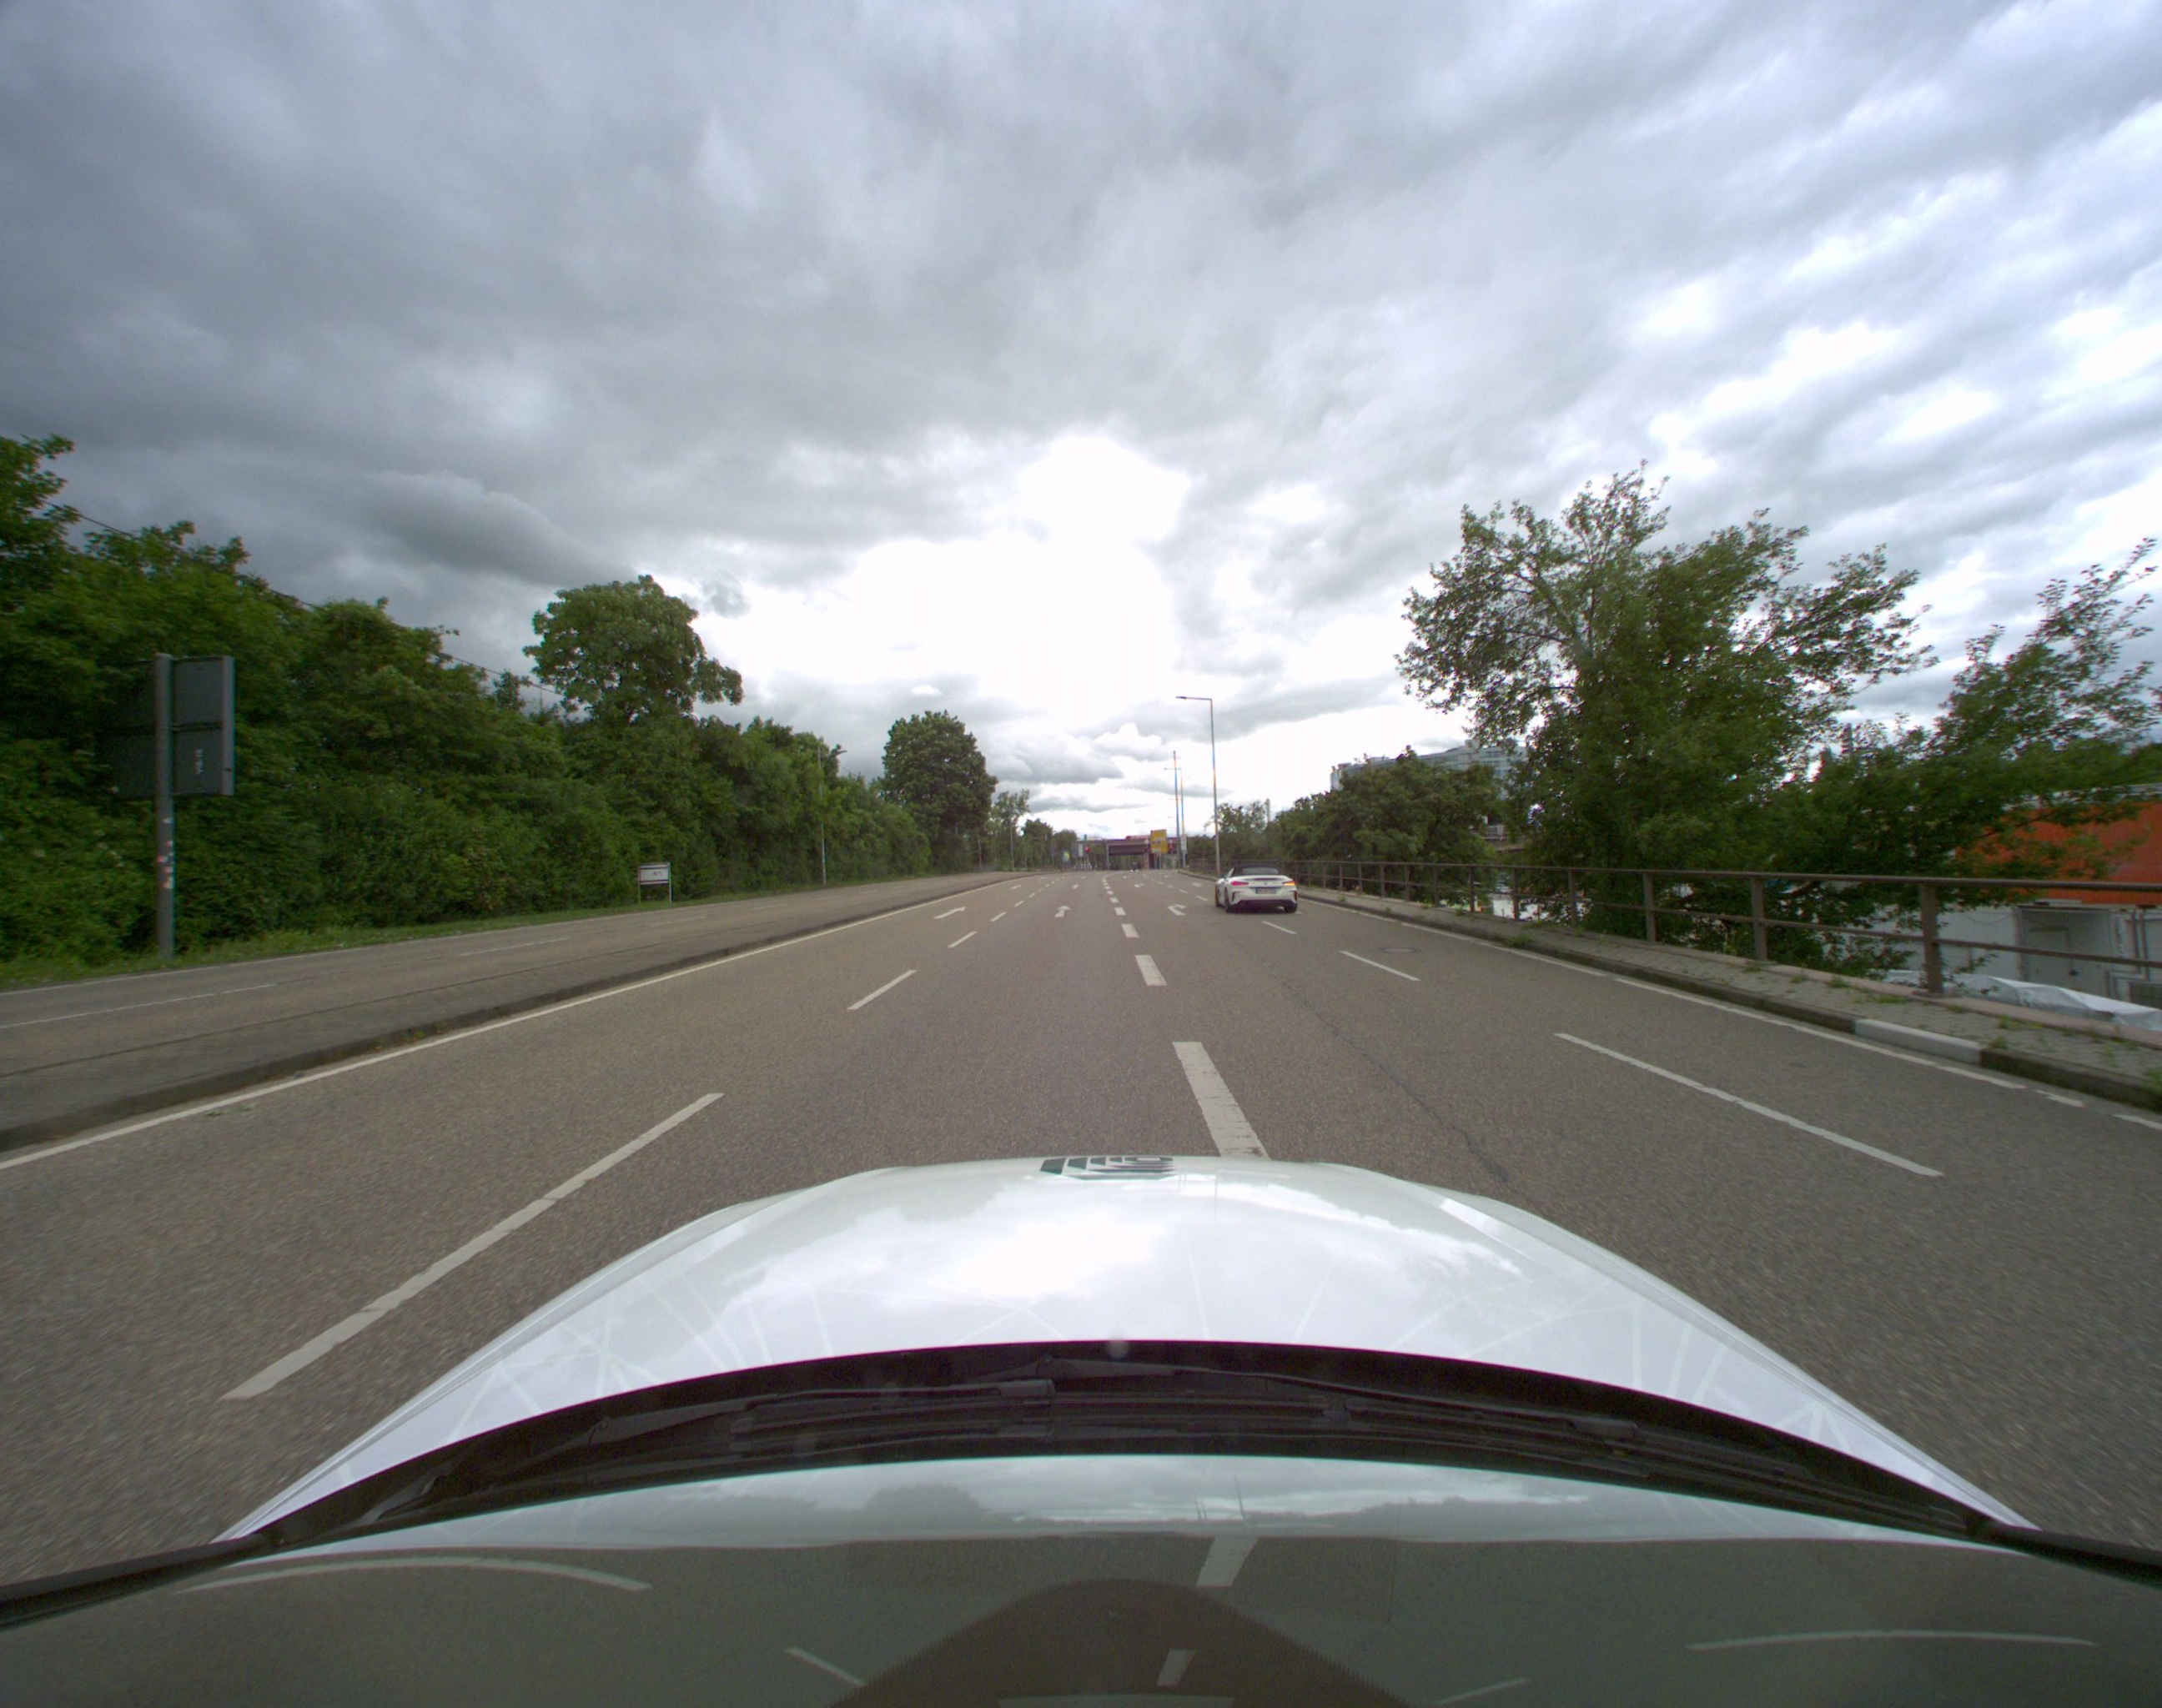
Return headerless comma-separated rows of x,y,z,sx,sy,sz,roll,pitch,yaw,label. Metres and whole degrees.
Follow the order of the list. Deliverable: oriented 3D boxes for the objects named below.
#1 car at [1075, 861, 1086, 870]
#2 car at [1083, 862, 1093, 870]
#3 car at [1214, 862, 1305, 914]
-0.094,2.204,152.403,1.763,1.645,3.828,0,-1,4,car
1.418,2.452,162.353,1.763,1.633,3.828,0,-1,4,car
4.852,0.886,22.672,1.867,1.309,3.875,1,0,3,car
